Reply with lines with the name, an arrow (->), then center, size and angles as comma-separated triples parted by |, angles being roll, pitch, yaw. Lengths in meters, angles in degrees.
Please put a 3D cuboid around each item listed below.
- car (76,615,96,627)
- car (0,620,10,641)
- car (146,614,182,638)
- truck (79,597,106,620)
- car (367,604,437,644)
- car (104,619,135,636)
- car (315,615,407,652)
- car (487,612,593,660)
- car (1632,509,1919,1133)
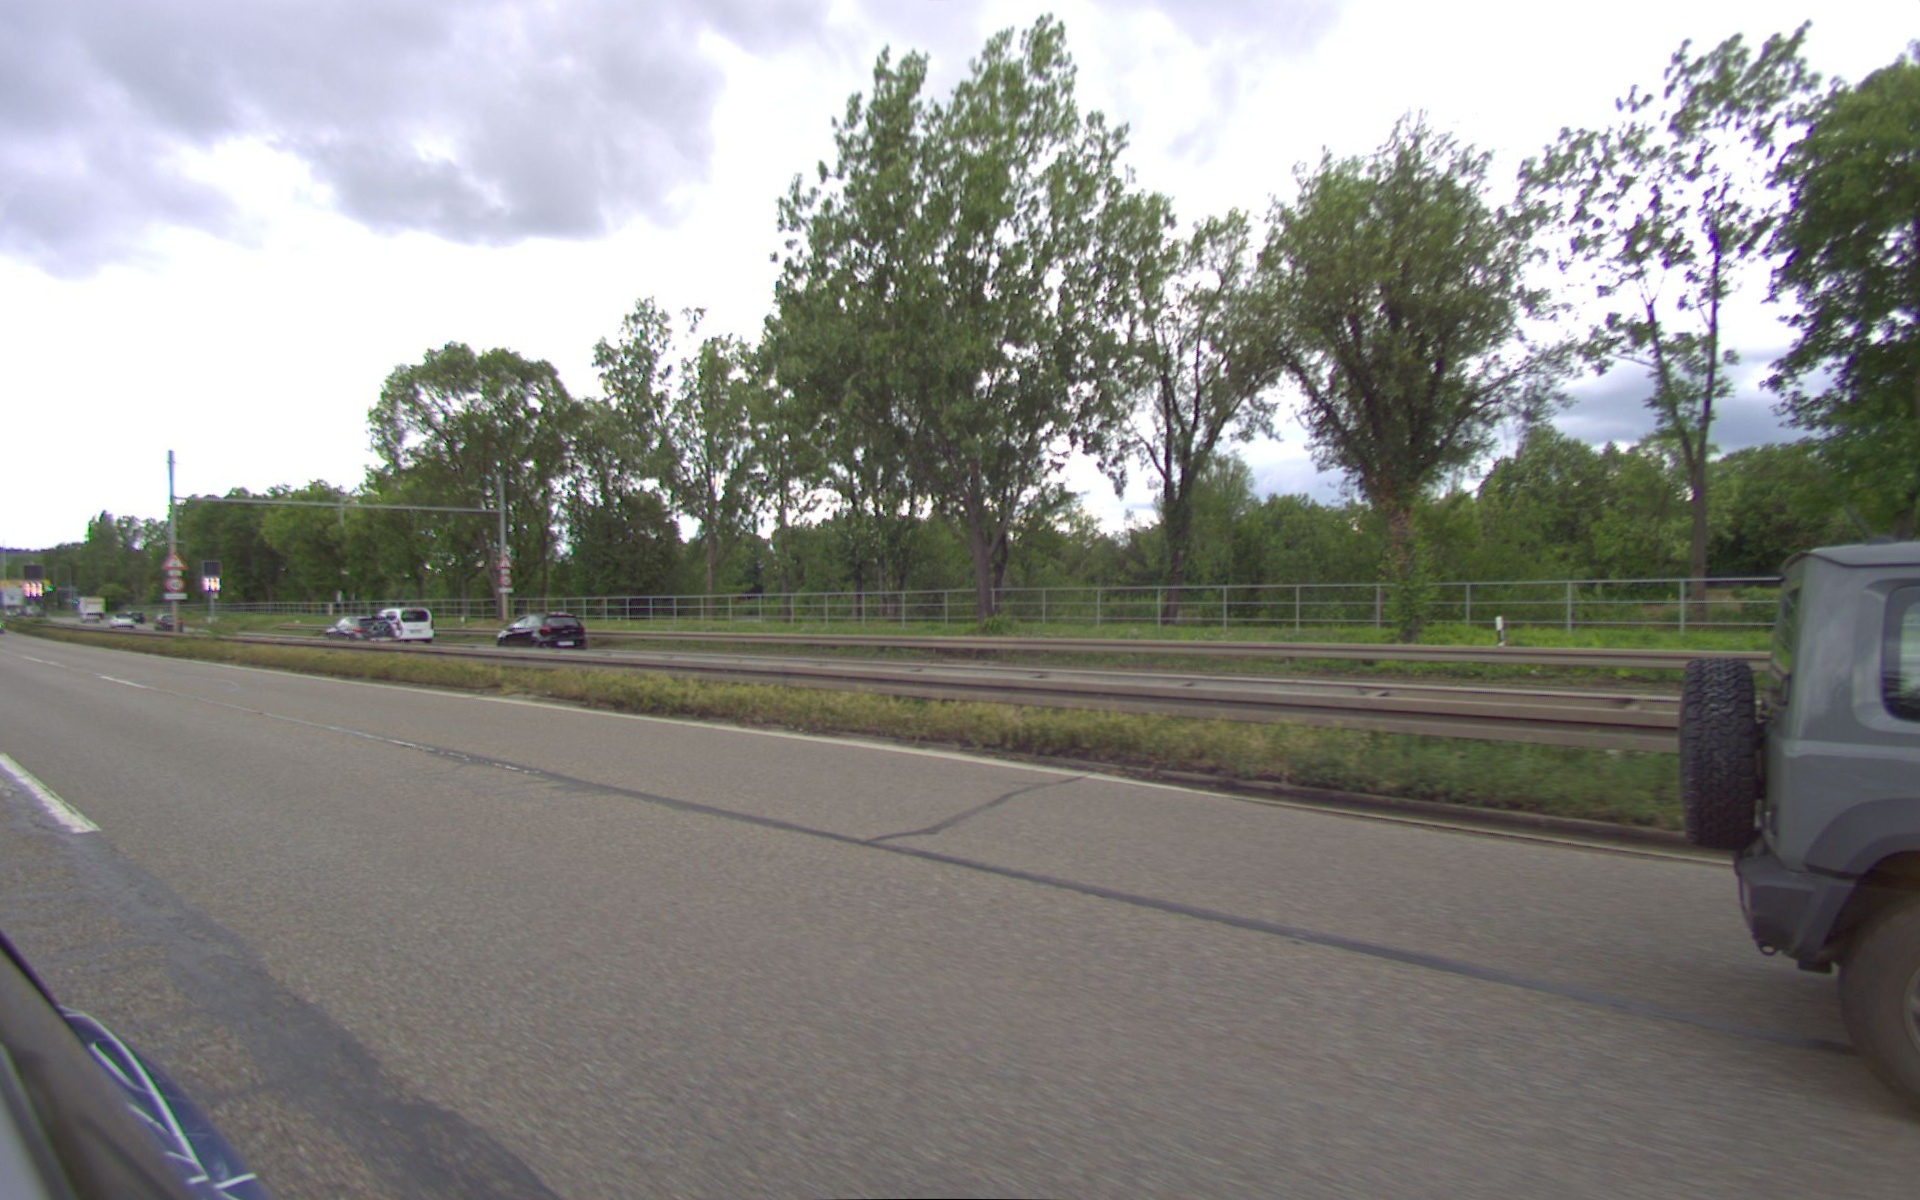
car -> -120.079, 2.872, 138.989 | 4.539, 1.617, 1.678 | -2, -3, 44
car -> -81.571, 2.625, 85.298 | 4.146, 1.738, 1.858 | -2, 0, 43
car -> -61.863, 2.019, 78.598 | 3.742, 1.788, 1.707 | -1, -1, 44
truck -> -145.525, 1.455, 169.690 | 2.855, 3.606, 9.595 | -1, 0, -44
car -> -27.573, 1.159, 49.976 | 4.560, 1.898, 1.593 | -1, -1, 42
car -> -86.486, 2.863, 104.138 | 4.719, 1.687, 1.846 | -2, -2, 43
car -> -26.025, 1.437, 43.883 | 5.549, 1.476, 1.842 | -1, -1, 42
car -> -13.589, 1.125, 32.659 | 3.910, 1.435, 1.643 | -1, -1, 42
car -> 4.203, 0.597, 2.622 | 3.993, 1.699, 1.682 | -1, -2, 37
